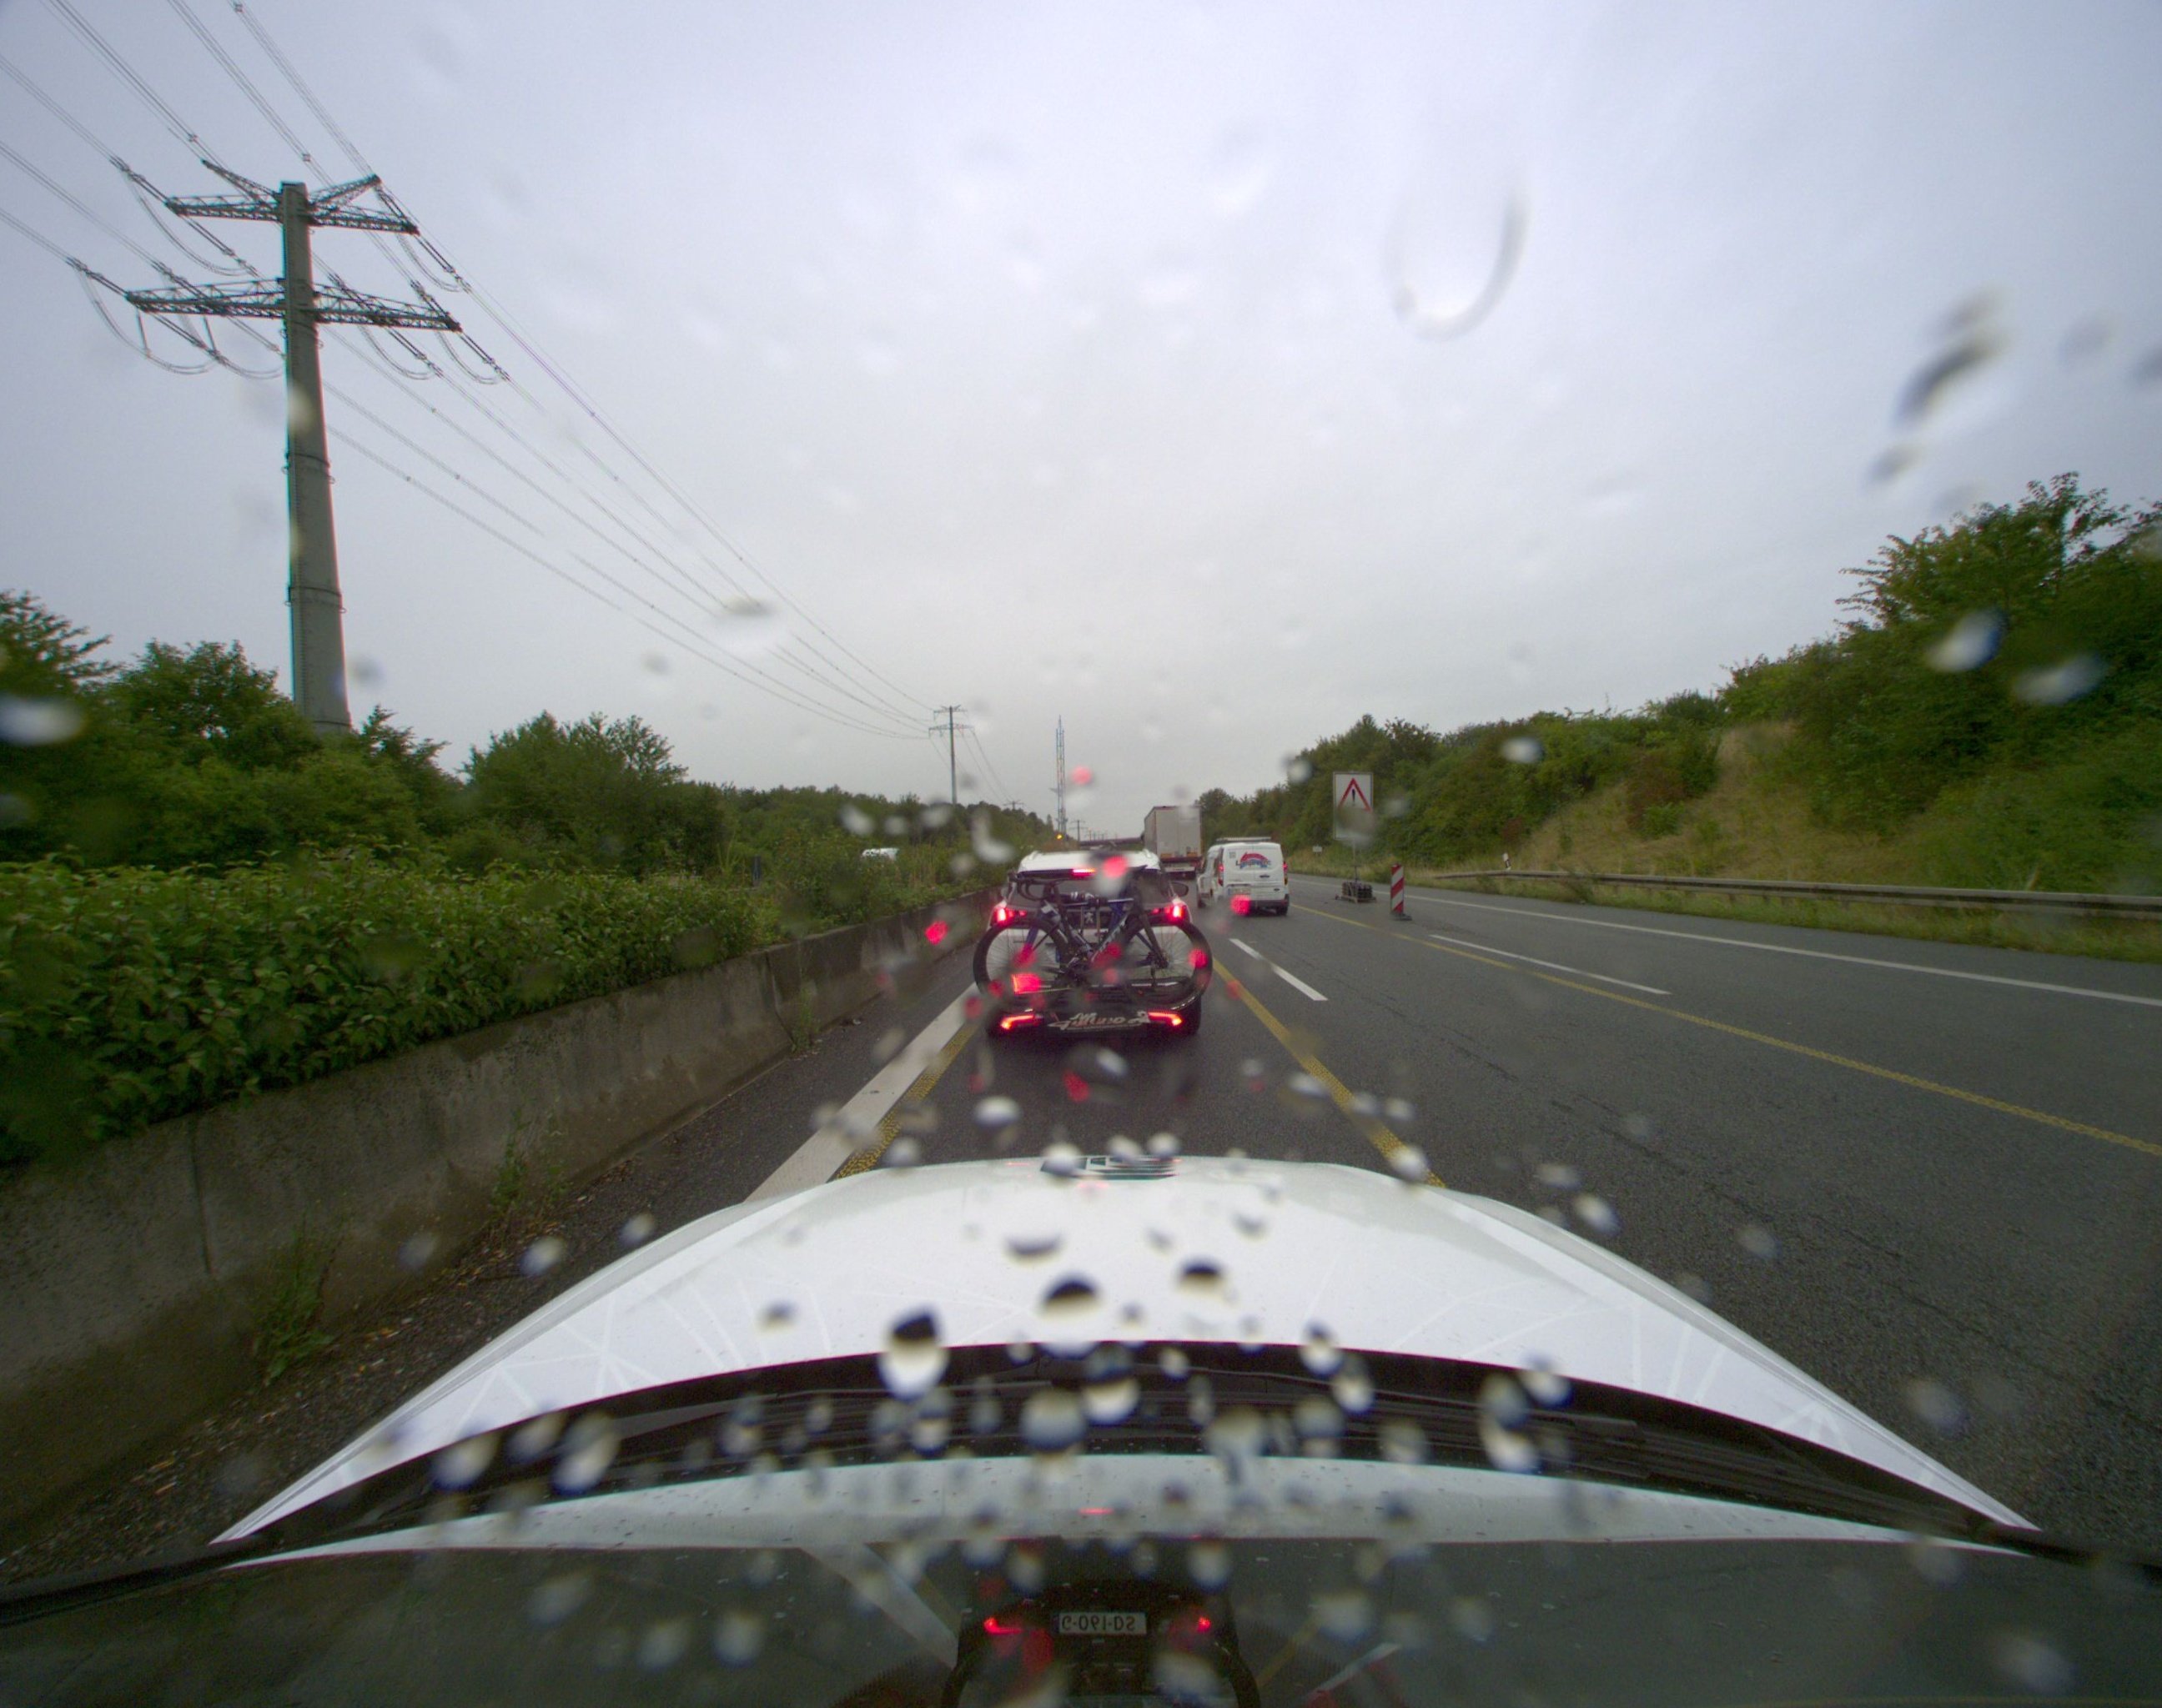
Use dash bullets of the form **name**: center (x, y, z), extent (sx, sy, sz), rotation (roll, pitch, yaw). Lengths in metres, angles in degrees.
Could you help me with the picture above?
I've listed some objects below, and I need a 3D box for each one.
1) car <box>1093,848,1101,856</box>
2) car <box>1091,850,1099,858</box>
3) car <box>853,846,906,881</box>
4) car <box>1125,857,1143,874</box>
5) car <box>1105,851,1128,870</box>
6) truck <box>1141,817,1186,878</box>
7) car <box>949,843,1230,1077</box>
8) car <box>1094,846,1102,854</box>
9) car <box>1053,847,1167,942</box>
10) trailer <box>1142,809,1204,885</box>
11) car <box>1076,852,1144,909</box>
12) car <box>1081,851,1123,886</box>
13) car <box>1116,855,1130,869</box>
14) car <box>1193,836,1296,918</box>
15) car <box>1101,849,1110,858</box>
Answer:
- **car**: center (4.019, -0.585, 199.425), extent (1.924, 1.910, 4.002), rotation (-1, 1, 2)
- **car**: center (3.595, 0.008, 206.492), extent (1.924, 1.973, 4.002), rotation (-1, 1, 2)
- **car**: center (-13.761, 0.634, 55.925), extent (2.172, 2.265, 5.206), rotation (-1, 0, 2)
- **car**: center (6.493, 1.399, 99.956), extent (2.102, 1.973, 4.002), rotation (-1, 1, 2)
- **car**: center (2.960, 0.509, 67.911), extent (1.843, 1.531, 4.002), rotation (-1, 0, 2)
- **truck**: center (5.769, -0.428, 58.024), extent (2.650, 4.076, 6.542), rotation (-1, 0, 2)
- **car**: center (0.133, 0.707, 7.816), extent (1.843, 1.531, 4.770), rotation (-1, 0, 2)
- **car**: center (4.470, -1.013, 212.266), extent (1.924, 1.973, 4.002), rotation (-1, 1, 2)
- **car**: center (0.547, 0.663, 15.419), extent (1.843, 1.531, 4.002), rotation (-1, 0, 2)
- **trailer**: center (5.497, -0.376, 50.719), extent (2.682, 4.076, 13.639), rotation (-1, 0, 2)
- **car**: center (0.868, 0.726, 24.478), extent (1.843, 1.531, 4.002), rotation (-1, 0, 2)
- **car**: center (1.023, 0.646, 38.307), extent (1.843, 1.531, 4.002), rotation (-1, 0, 2)
- **car**: center (6.726, 1.251, 129.653), extent (2.140, 1.973, 4.002), rotation (-1, 1, 2)
- **car**: center (4.050, 0.526, 20.930), extent (1.822, 1.839, 4.657), rotation (-1, 0, 2)
- **car**: center (5.510, -0.093, 180.000), extent (1.924, 1.973, 4.002), rotation (-1, 1, 2)
